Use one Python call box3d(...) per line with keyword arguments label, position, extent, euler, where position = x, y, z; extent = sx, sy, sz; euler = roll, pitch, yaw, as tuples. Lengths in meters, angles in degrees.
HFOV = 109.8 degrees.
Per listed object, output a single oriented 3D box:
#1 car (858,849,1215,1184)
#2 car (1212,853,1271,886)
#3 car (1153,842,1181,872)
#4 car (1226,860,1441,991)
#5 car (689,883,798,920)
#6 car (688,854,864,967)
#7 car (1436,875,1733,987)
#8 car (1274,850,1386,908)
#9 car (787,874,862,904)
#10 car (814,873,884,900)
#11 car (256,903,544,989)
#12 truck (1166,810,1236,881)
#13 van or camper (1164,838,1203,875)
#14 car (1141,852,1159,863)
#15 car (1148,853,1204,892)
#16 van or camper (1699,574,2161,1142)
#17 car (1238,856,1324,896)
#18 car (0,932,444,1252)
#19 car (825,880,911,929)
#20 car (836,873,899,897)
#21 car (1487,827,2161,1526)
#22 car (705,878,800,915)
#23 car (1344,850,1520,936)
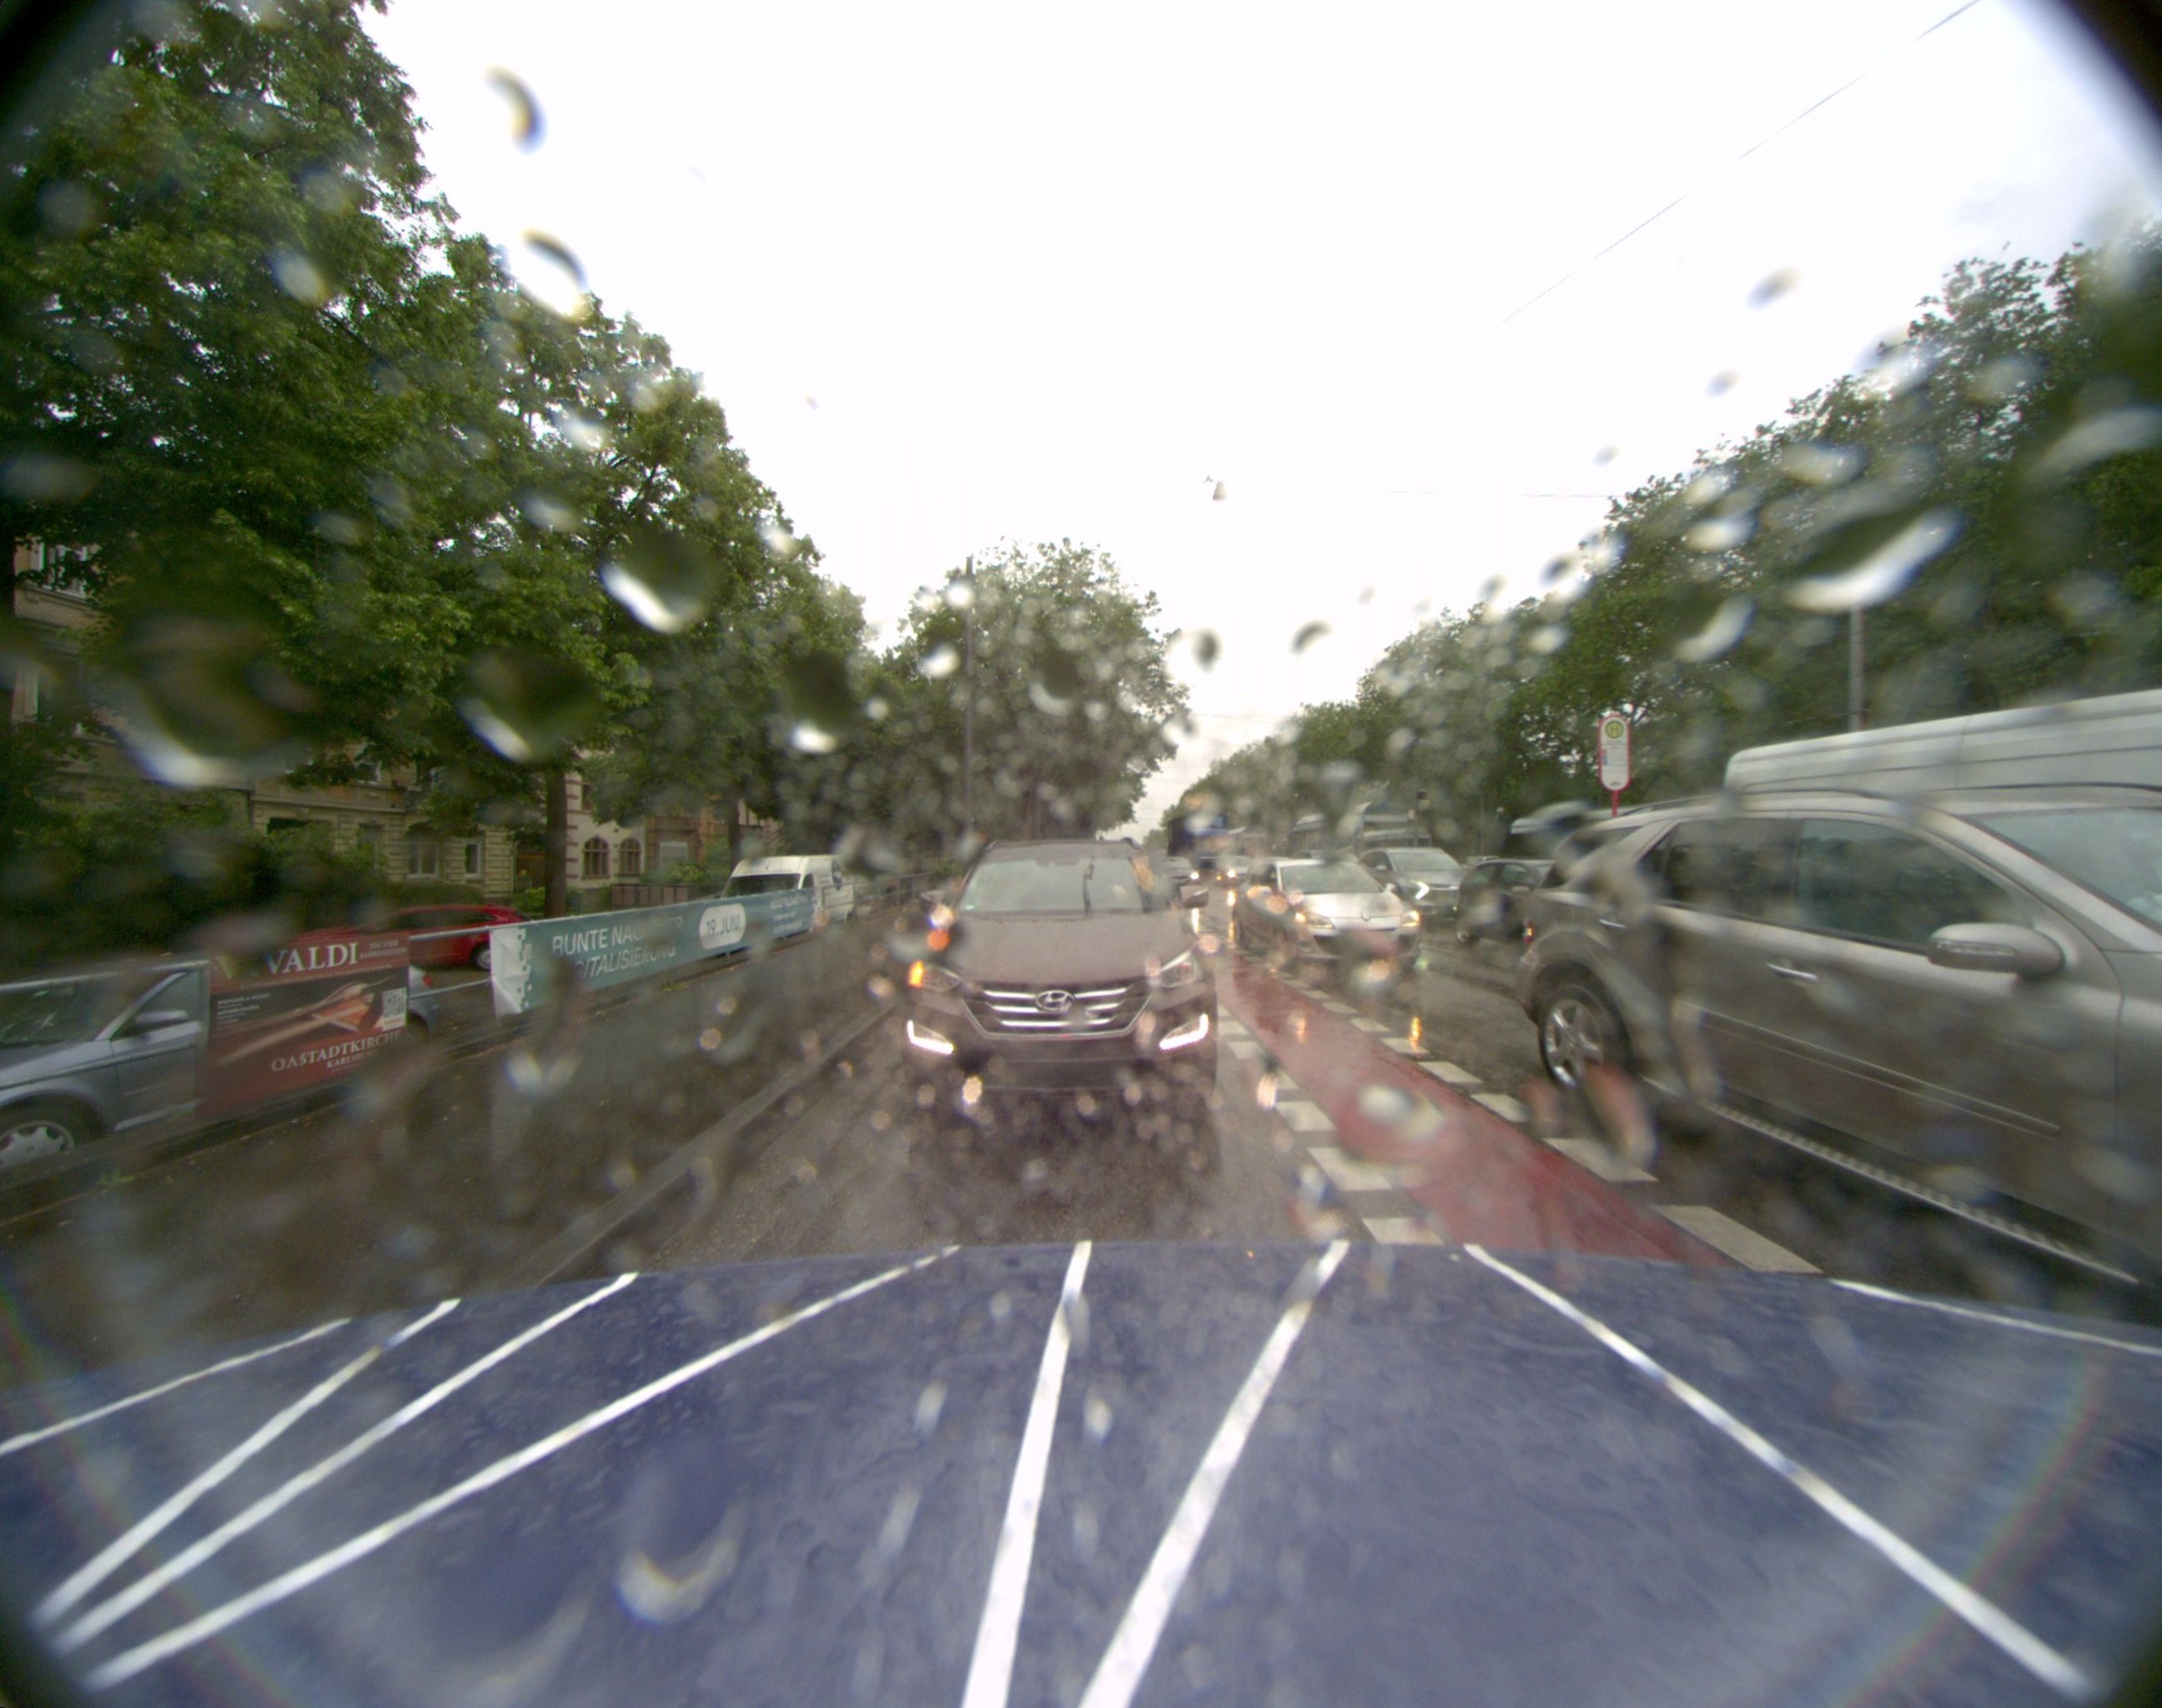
box3d(label="car", position=(-0.161, 0.816, 5.673), extent=(1.756, 1.657, 3.678), euler=(-2, 0, 2))
box3d(label="car", position=(7.583, 0.702, 36.373), extent=(1.895, 1.478, 4.077), euler=(-1, 0, -1))
box3d(label="car", position=(7.415, 0.226, 65.881), extent=(1.998, 2.412, 5.727), euler=(-2, 0, 3))
box3d(label="car", position=(3.412, 0.873, 11.107), extent=(1.772, 1.469, 4.000), euler=(-2, 0, 0))
box3d(label="car", position=(-14.862, 2.046, 33.500), extent=(4.269, 1.372, 1.687), euler=(-1, 1, -27))
box3d(label="car", position=(-7.707, 1.263, 20.094), extent=(2.214, 2.406, 6.157), euler=(-2, 0, -2))
box3d(label="car", position=(6.740, 0.944, 10.767), extent=(1.467, 1.111, 4.087), euler=(-2, 0, 0))
box3d(label="car", position=(7.565, 0.684, 23.581), extent=(1.999, 1.611, 4.319), euler=(-1, 0, -1))
box3d(label="car", position=(-15.724, 2.116, 46.664), extent=(4.006, 1.599, 1.821), euler=(-2, 1, -31))
box3d(label="car", position=(-15.365, 2.117, 50.317), extent=(4.007, 1.557, 1.995), euler=(-2, 1, -34))
box3d(label="car", position=(-14.629, 1.920, 16.739), extent=(4.439, 1.444, 1.894), euler=(0, -1, -32))
box3d(label="truck", position=(7.127, -0.492, 46.466), extent=(2.545, 3.866, 9.810), euler=(1, 0, -1))
box3d(label="van or camper", position=(7.625, 0.176, 57.108), extent=(1.998, 2.555, 6.431), euler=(-2, 0, 0))
box3d(label="car", position=(7.360, 0.361, 81.275), extent=(1.467, 1.185, 3.615), euler=(-2, 0, 0))
box3d(label="car", position=(4.002, 0.746, 32.692), extent=(1.899, 1.569, 3.999), euler=(0, 0, 0))
box3d(label="van or camper", position=(7.019, 0.018, 4.322), extent=(2.164, 3.123, 5.850), euler=(0, 0, -1))
box3d(label="car", position=(7.523, 0.786, 29.059), extent=(1.999, 1.386, 4.606), euler=(0, 0, -1))
box3d(label="car", position=(-7.237, 1.588, 5.539), extent=(1.736, 1.530, 4.074), euler=(-2, 0, -1))
box3d(label="car", position=(-7.528, 1.752, 27.315), extent=(1.972, 1.345, 4.383), euler=(-3, 0, -3))
box3d(label="car", position=(-15.541, 2.233, 55.356), extent=(4.007, 1.455, 1.908), euler=(-2, 1, -34))
box3d(label="car", position=(3.731, 0.792, 2.807), extent=(2.030, 1.760, 4.462), euler=(-2, 0, 0))
box3d(label="car", position=(-15.530, 1.981, 36.000), extent=(4.005, 1.496, 1.655), euler=(-1, 1, -24))
box3d(label="car", position=(7.434, 0.726, 16.664), extent=(1.919, 1.614, 4.454), euler=(0, 0, 2))
